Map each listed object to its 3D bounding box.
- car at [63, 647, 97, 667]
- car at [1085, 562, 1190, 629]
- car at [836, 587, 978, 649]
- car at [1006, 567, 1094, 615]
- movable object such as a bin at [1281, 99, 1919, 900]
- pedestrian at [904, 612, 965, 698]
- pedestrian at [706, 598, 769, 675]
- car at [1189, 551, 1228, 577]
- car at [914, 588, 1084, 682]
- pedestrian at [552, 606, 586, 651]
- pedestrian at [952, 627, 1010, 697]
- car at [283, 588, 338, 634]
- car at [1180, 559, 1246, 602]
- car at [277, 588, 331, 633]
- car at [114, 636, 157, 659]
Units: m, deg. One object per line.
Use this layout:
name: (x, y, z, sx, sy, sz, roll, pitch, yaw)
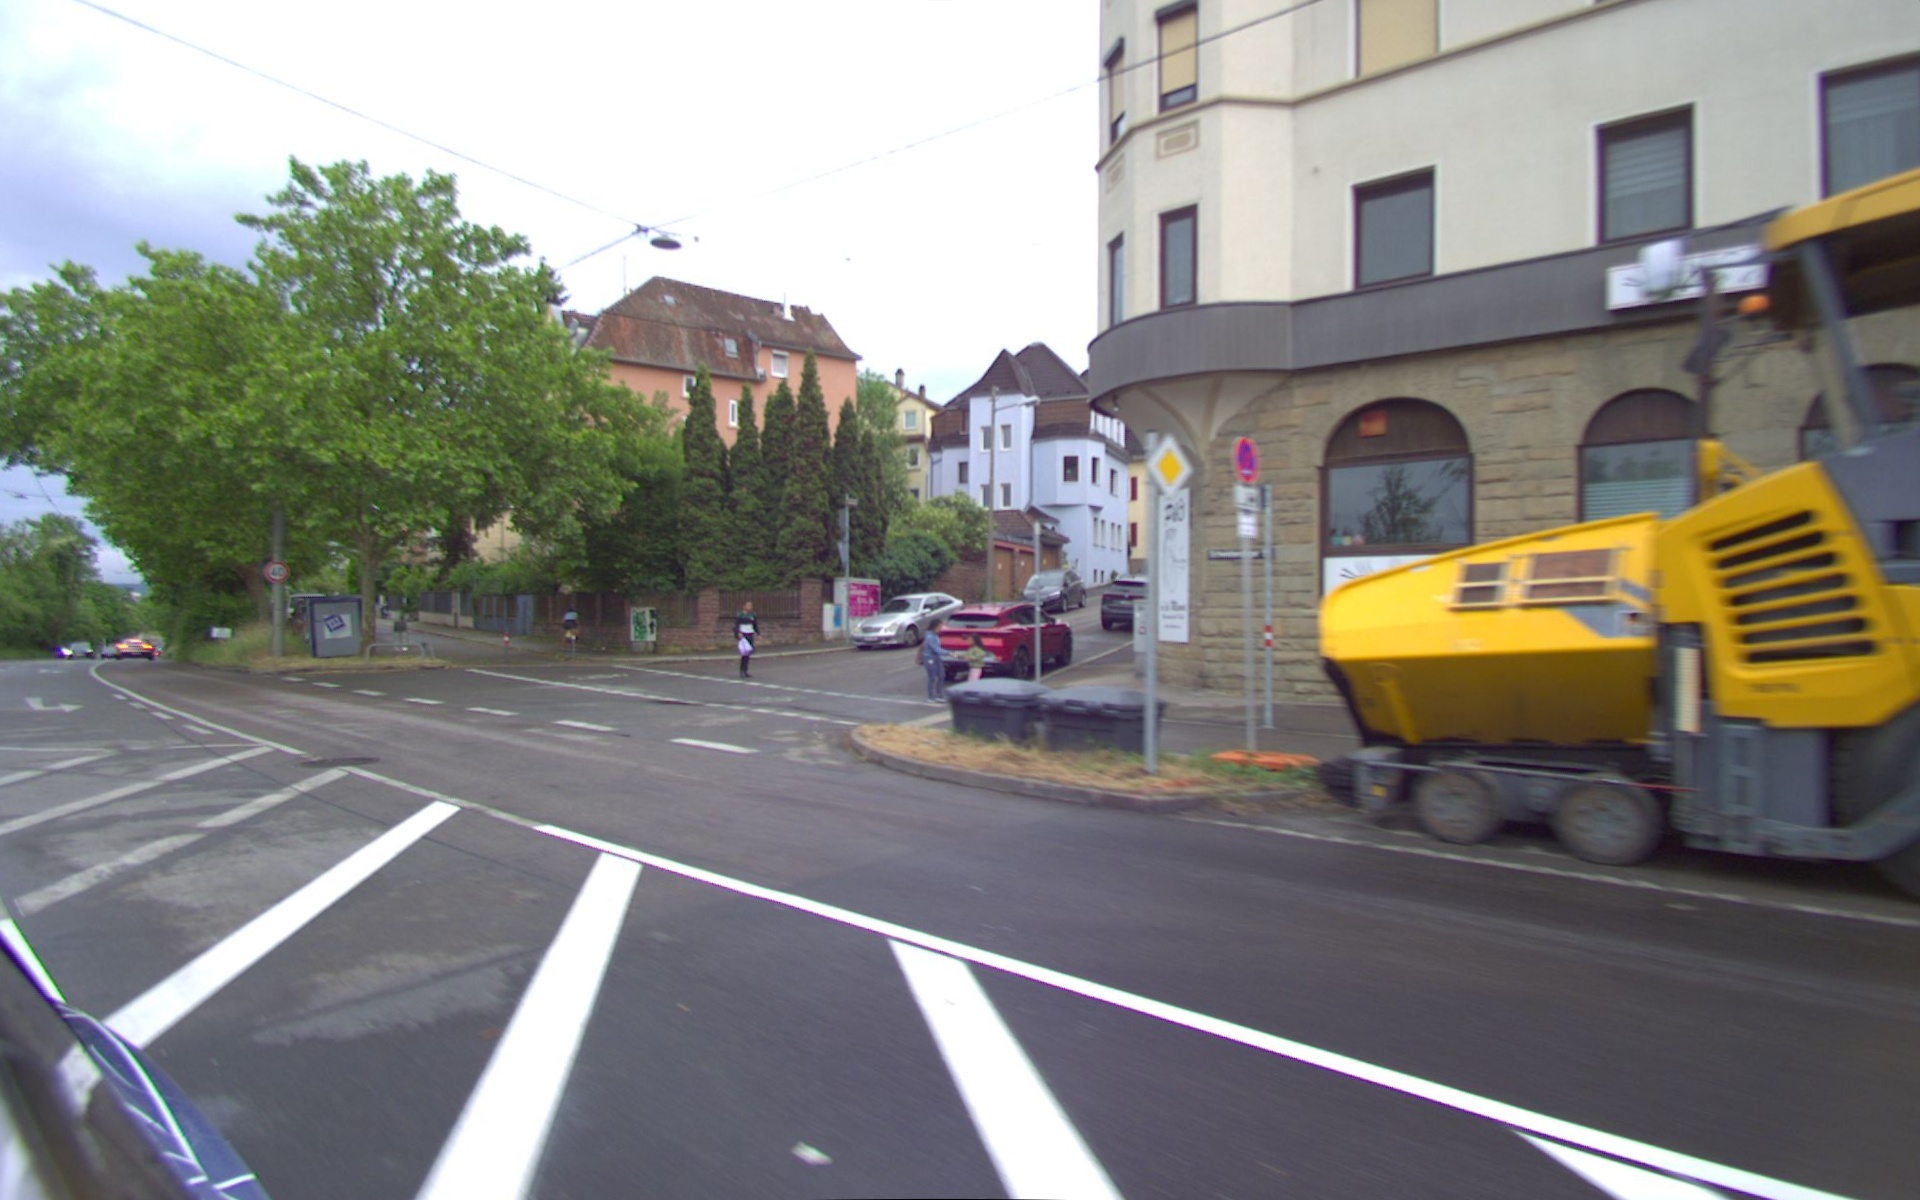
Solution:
car: (-69.848, 4.540, 80.380, 1.969, 1.453, 4.006, -1, -1, -41)
car: (5.634, -0.185, 31.660, 2.066, 1.585, 4.509, -3, 4, 25)
car: (-1.403, 0.461, 28.656, 1.881, 1.395, 4.221, -2, 2, 32)
car: (3.540, -0.377, 39.075, 1.878, 1.395, 4.229, -3, 4, 28)
movable object such as a bin: (5.446, -0.495, 6.059, 5.986, 3.885, 2.745, -4, -2, 43)
pedestrian: (-0.428, 0.926, 17.291, 0.800, 1.412, 0.779, -3, -1, 15)
pedestrian: (-4.917, 0.801, 22.362, 0.988, 1.642, 0.883, -3, -1, 22)
car: (17.430, -2.531, 70.843, 1.876, 1.395, 4.233, -3, 4, 25)
car: (0.961, 0.661, 21.373, 1.926, 1.585, 4.507, -3, 1, 25)
pedestrian: (-12.196, 0.880, 31.576, 0.780, 1.365, 0.793, -2, -2, -36)
pedestrian: (0.364, 1.038, 17.045, 0.739, 1.132, 0.726, -3, -1, 21)
car: (-29.312, 0.515, 45.629, 1.806, 1.857, 4.638, -2, -1, -36)
car: (10.681, -0.861, 42.543, 1.876, 1.395, 4.233, -3, 4, 25)
car: (-32.490, 0.545, 50.050, 1.967, 2.029, 4.638, -2, -1, -36)
car: (-53.317, 3.084, 65.440, 2.045, 1.363, 4.720, -2, -1, -40)
